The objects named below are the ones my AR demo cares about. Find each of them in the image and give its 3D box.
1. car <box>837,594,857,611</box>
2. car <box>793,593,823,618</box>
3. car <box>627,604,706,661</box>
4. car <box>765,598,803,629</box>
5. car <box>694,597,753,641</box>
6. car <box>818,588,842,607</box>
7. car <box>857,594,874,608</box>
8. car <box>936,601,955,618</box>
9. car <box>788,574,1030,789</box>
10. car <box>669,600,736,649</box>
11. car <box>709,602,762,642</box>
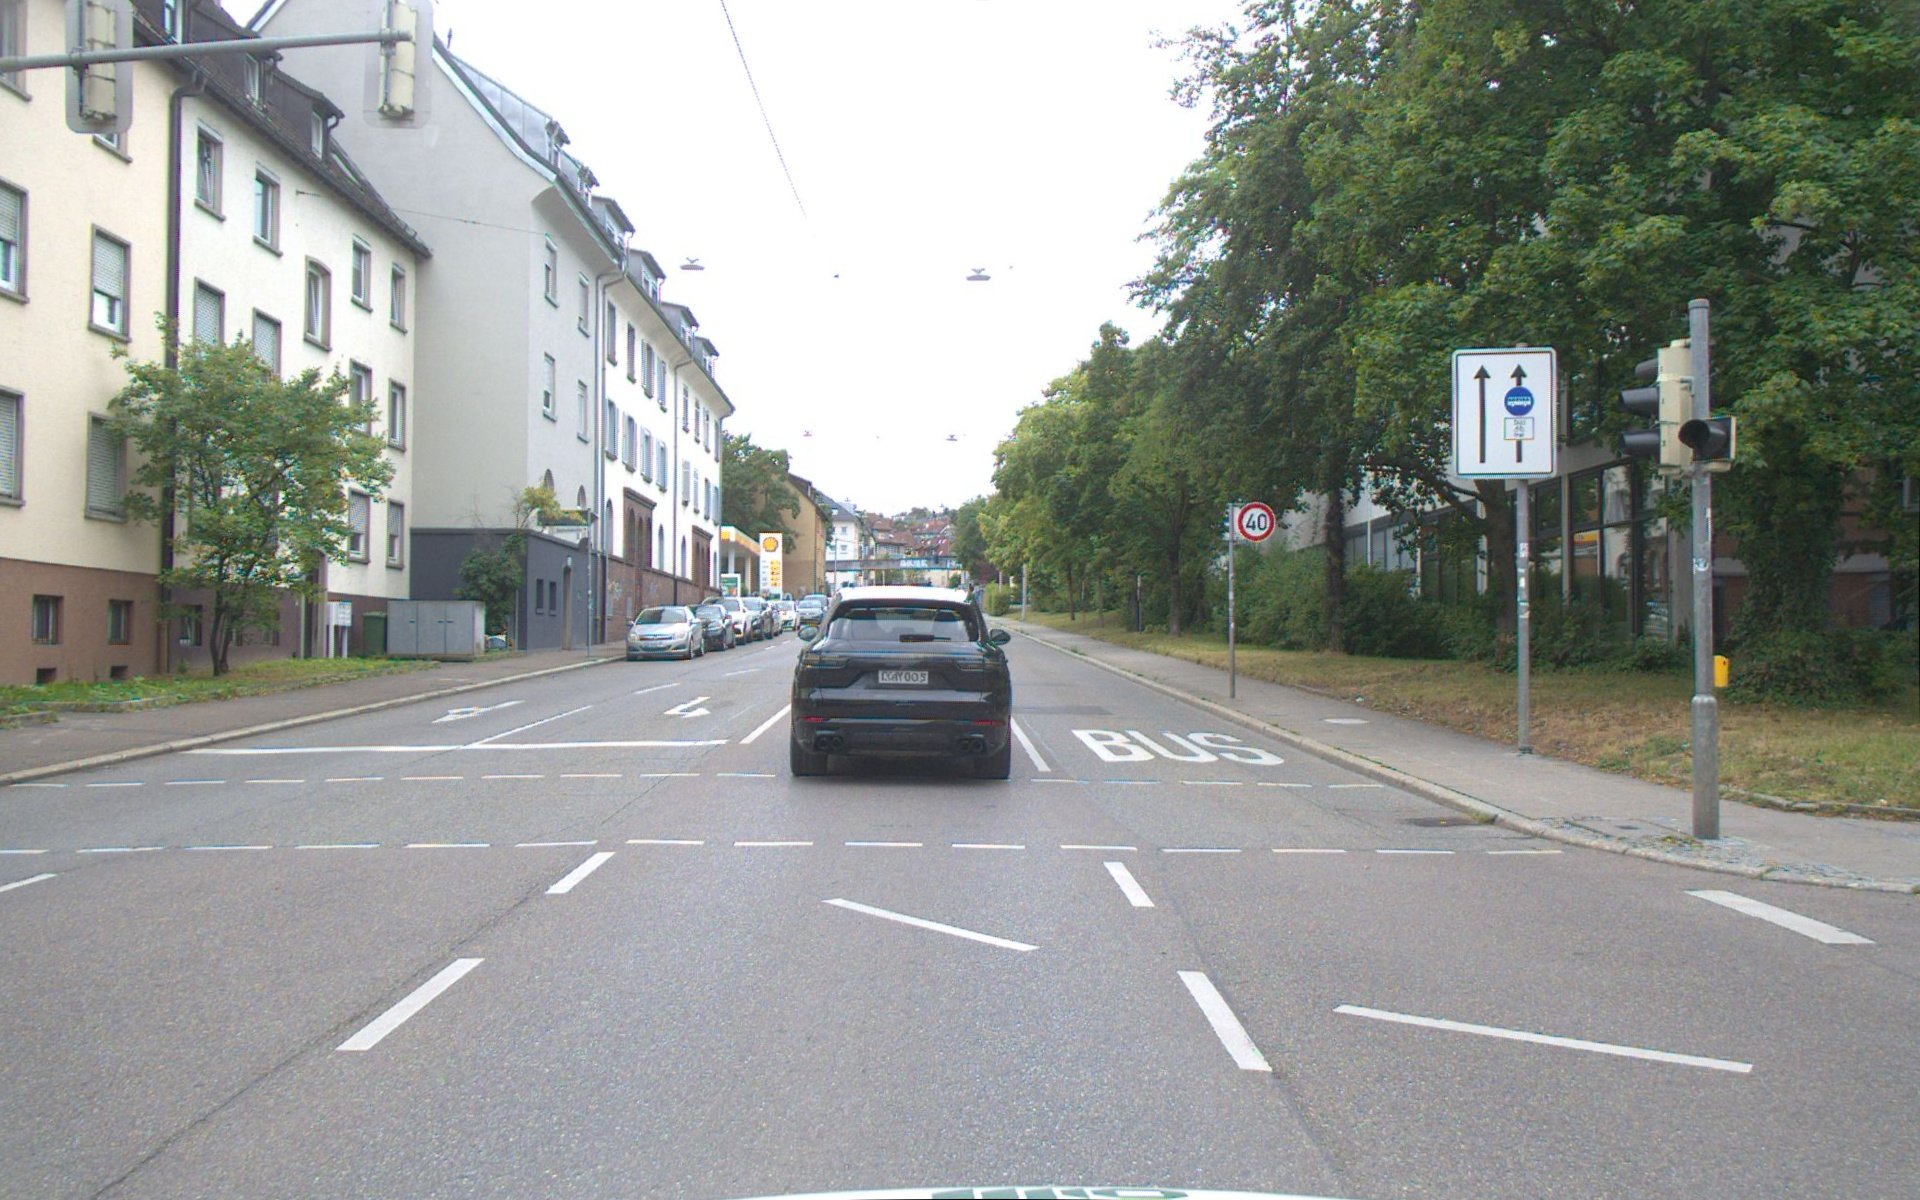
[{"bbox_3d":[-10.100,0.197,148.161,1.636,1.386,3.998,1,1,-3],"label":"car"},{"bbox_3d":[-9.224,0.325,100.488,1.636,1.386,3.998,1,1,-3],"label":"car"},{"bbox_3d":[-7.842,0.838,44.440,1.637,1.386,3.997,1,1,-4],"label":"car"},{"bbox_3d":[-8.776,0.655,82.824,1.636,1.386,3.998,1,1,-3],"label":"car"},{"bbox_3d":[-8.226,0.639,57.847,1.636,1.386,3.998,1,1,-3],"label":"car"},{"bbox_3d":[-9.961,-0.173,126.929,1.636,1.386,3.998,1,1,-3],"label":"car"},{"bbox_3d":[-10.270,0.116,179.393,1.636,1.386,4.000,1,1,-1],"label":"car"},{"bbox_3d":[-1.314,0.875,148.778,1.636,1.386,3.998,1,1,-3],"label":"car"},{"bbox_3d":[-0.453,0.645,15.686,1.953,1.726,4.000,2,1,-1],"label":"car"},{"bbox_3d":[-8.028,0.747,51.925,1.636,1.386,3.998,1,1,-3],"label":"car"},{"bbox_3d":[-8.526,0.818,62.963,1.636,1.386,3.998,1,1,-3],"label":"car"}]
